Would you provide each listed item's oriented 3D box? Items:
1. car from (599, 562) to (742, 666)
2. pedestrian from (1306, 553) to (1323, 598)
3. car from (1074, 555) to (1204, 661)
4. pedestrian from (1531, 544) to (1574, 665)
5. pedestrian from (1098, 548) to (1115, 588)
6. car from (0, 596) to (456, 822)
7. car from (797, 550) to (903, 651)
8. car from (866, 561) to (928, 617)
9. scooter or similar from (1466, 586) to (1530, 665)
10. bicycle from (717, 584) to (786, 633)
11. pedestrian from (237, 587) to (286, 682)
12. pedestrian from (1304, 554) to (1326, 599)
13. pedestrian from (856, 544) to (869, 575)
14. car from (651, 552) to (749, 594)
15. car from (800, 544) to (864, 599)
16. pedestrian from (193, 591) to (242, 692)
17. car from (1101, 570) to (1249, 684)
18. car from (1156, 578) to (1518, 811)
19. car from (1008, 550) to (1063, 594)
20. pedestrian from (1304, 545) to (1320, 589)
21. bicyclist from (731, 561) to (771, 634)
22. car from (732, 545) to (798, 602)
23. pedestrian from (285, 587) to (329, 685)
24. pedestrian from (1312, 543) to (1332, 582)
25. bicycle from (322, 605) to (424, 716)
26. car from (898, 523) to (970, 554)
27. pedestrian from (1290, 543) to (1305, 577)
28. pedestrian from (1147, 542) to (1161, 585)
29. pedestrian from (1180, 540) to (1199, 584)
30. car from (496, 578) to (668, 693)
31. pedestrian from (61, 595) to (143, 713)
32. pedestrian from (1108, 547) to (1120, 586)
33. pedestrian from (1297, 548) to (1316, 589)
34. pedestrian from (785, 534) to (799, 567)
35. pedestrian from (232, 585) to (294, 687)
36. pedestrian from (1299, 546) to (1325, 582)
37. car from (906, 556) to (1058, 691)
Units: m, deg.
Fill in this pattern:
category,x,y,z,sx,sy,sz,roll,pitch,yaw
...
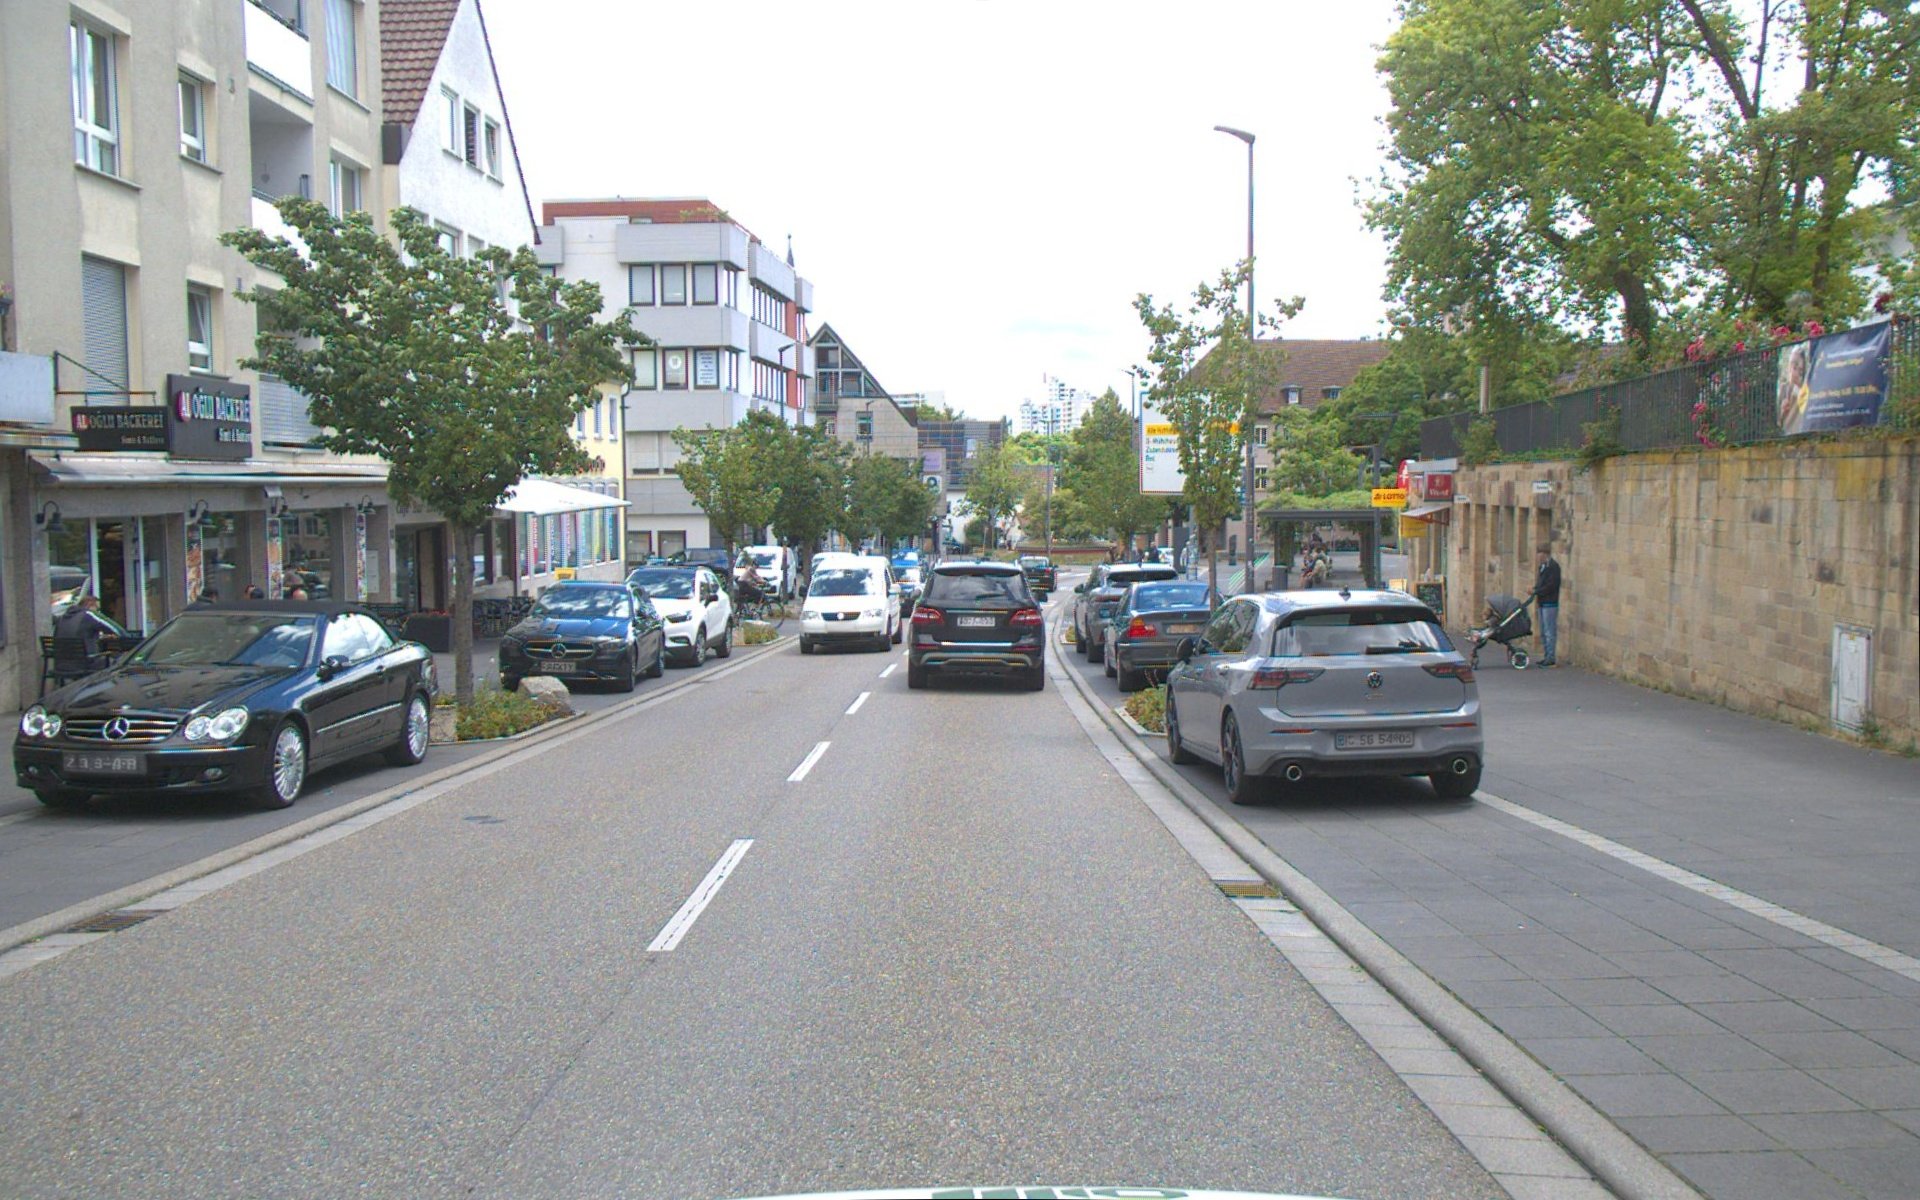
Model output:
category,x,y,z,sx,sy,sz,roll,pitch,yaw
car,-5.037,0.179,29.260,1.631,1.675,4.135,1,1,2
pedestrian,11.044,-0.760,51.524,0.484,1.343,0.576,-1,4,9
car,3.135,0.074,29.833,1.889,1.754,4.574,-1,1,0
pedestrian,8.334,0.061,23.284,0.463,1.674,0.507,-1,0,11
pedestrian,5.896,-1.296,66.581,0.503,1.576,0.486,0,2,31
car,-5.421,0.692,12.815,1.623,1.416,4.444,0,0,1
car,-2.134,-0.025,33.133,1.710,1.834,4.213,-2,1,1
car,-1.821,-0.348,48.452,1.573,1.412,3.631,-2,3,1
scooter or similar,7.652,0.361,23.541,0.794,1.091,0.561,-1,0,11
bicycle,-5.016,0.188,39.935,1.635,1.106,0.408,-3,2,-36
pedestrian,-9.604,0.471,22.750,0.418,1.271,0.567,0,1,0
pedestrian,10.921,-0.725,50.902,0.603,1.343,0.586,-1,4,8
pedestrian,-5.154,-2.136,87.145,0.574,1.615,0.639,1,2,6
car,-10.028,-1.059,63.886,3.554,1.585,1.668,0,2,-2
car,-4.165,-0.977,54.159,1.622,1.701,4.352,1,2,2
pedestrian,-9.540,0.522,21.262,0.387,1.271,0.500,0,1,0
car,2.957,0.349,23.489,1.646,1.441,4.372,-1,0,2
car,2.693,0.604,12.786,1.719,1.466,4.088,-1,0,-2
car,3.091,-1.201,68.647,2.011,1.615,4.374,2,2,-1
pedestrian,11.100,-1.034,52.149,0.487,1.343,0.525,-1,4,10
bicyclist,-5.049,-0.066,39.910,0.769,1.724,0.504,-3,2,-34
car,-6.623,-0.946,56.489,1.720,1.845,4.477,1,2,0
pedestrian,-8.952,0.483,22.672,0.412,1.322,0.454,0,1,0
pedestrian,12.579,-1.320,57.513,0.610,1.330,0.546,-1,2,9
bicycle,-6.443,0.636,18.237,0.474,1.126,1.907,0,1,-1
car,-2.337,-5.509,148.647,6.183,2.604,2.197,1,-1,-16
pedestrian,13.190,-1.565,64.647,0.555,1.346,0.546,1,2,15
pedestrian,7.777,-1.457,66.341,0.500,1.709,0.577,-1,2,5
pedestrian,9.068,-1.508,65.316,0.670,1.711,0.715,0,2,16
car,-5.379,0.441,24.060,1.803,1.476,4.511,1,1,-5
pedestrian,-9.408,0.581,18.152,0.583,1.268,0.599,0,1,0
pedestrian,6.429,-1.395,69.035,0.489,1.593,0.498,-1,2,5
pedestrian,11.067,-1.006,52.785,0.556,1.283,0.542,-1,4,9
pedestrian,-8.172,-2.410,80.501,0.499,1.593,0.587,-1,2,6
pedestrian,-8.918,0.451,21.174,0.538,1.289,0.599,0,1,0
pedestrian,13.078,-1.344,61.432,0.755,1.291,0.674,2,3,36
car,0.218,0.302,24.015,1.986,1.757,4.431,1,0,-2
